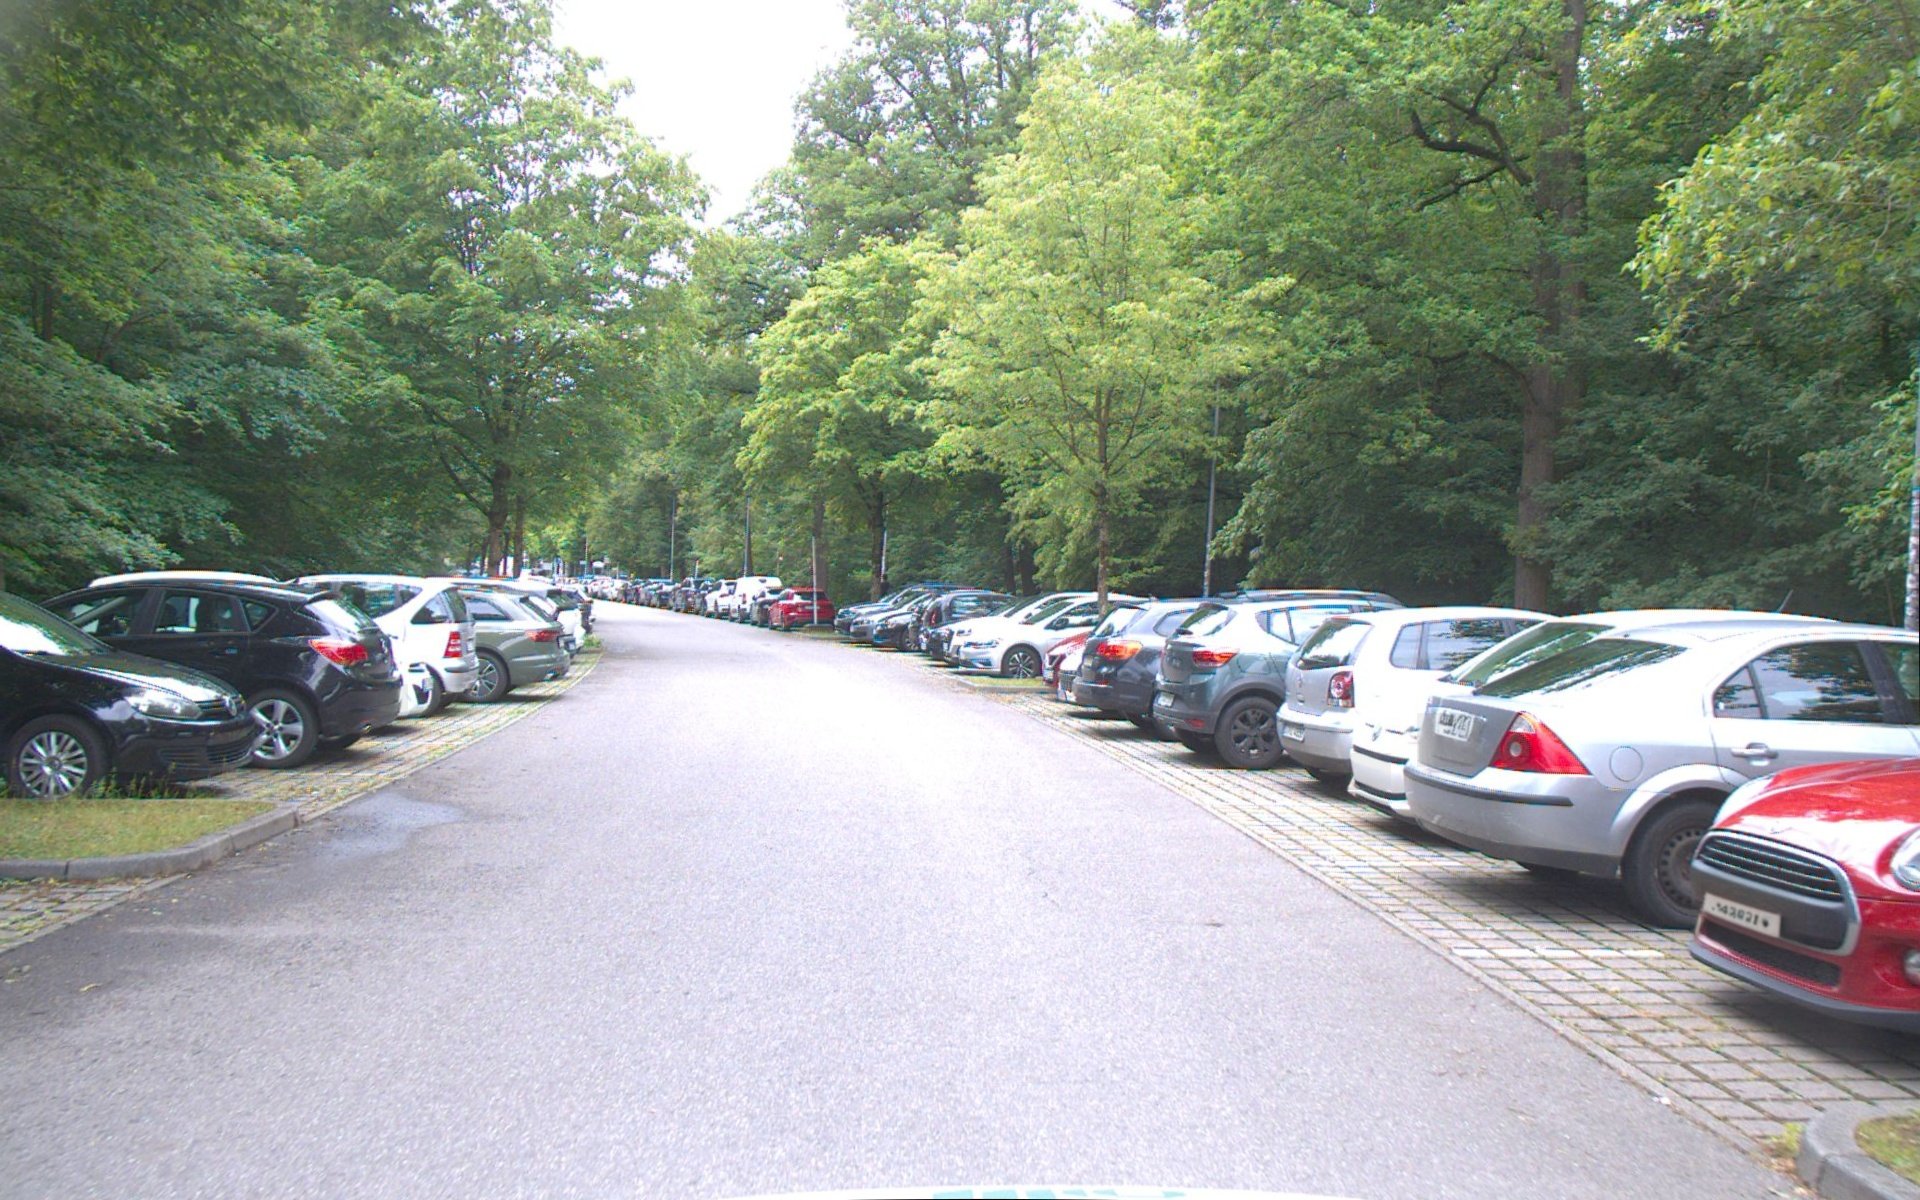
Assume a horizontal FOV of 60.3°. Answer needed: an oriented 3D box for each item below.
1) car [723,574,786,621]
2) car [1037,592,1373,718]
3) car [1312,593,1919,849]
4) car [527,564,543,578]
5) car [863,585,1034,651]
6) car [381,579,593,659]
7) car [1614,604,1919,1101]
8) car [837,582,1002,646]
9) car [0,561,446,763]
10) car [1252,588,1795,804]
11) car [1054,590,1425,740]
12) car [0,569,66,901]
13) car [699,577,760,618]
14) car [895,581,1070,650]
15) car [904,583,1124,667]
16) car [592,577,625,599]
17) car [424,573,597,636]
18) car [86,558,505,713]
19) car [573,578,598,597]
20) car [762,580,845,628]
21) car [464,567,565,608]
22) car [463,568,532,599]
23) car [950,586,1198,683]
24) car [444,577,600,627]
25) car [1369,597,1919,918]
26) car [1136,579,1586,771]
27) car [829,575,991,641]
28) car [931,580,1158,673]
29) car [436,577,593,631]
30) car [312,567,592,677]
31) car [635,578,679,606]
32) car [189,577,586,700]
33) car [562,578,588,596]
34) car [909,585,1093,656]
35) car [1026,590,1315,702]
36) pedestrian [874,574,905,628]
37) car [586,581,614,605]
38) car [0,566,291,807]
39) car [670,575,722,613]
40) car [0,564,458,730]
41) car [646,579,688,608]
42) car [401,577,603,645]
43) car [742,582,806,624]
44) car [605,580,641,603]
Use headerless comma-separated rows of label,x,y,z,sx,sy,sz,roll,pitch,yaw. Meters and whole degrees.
car,-8.267,-0.130,66.236,1.717,1.811,4.530,1,0,-18
car,3.077,0.679,21.201,3.859,1.435,1.875,1,1,-9
car,4.417,0.767,11.172,3.629,1.537,1.749,1,0,-5
car,-50.601,-3.430,196.917,1.603,1.440,3.394,2,3,-19
car,-0.309,0.429,41.101,3.917,1.501,1.947,1,0,-12
car,-8.900,0.347,31.403,3.659,1.444,1.867,1,0,-10
car,4.773,0.801,6.134,3.909,1.475,1.939,1,0,-5
car,-1.080,0.360,43.625,3.926,1.579,1.965,1,0,-19
car,-6.749,0.481,14.088,4.150,1.557,2.005,1,0,-5
car,4.451,0.739,13.360,3.770,1.573,1.727,1,0,-7
car,3.076,0.702,18.551,3.700,1.506,1.770,1,1,-11
car,-6.315,0.606,7.168,3.910,1.517,1.706,0,1,-6
car,-10.091,-0.135,72.143,1.758,1.691,4.693,1,0,-18
car,0.499,0.351,38.498,3.760,1.558,1.845,0,0,-13
car,1.068,0.500,33.635,4.115,1.538,1.887,1,1,-13
car,-25.747,-0.859,121.123,1.698,1.520,3.748,1,0,-23
car,-11.670,0.112,43.235,4.190,1.512,2.052,1,0,-12
car,-7.552,0.396,19.212,4.156,1.676,1.965,1,0,-10
car,-31.293,-1.043,138.114,1.684,1.535,3.980,1,0,-18
car,-5.310,0.099,55.730,1.961,1.505,4.952,1,0,-15
car,-19.389,-0.533,71.991,4.156,1.661,2.020,2,0,-17
car,-28.820,-1.017,103.054,3.929,1.848,2.102,1,0,-21
car,1.936,0.587,28.651,3.907,1.509,1.878,1,1,-13
car,-13.469,0.059,50.812,4.494,1.472,2.074,1,0,-19
car,4.450,0.764,8.787,4.044,1.487,1.864,1,0,-3
car,3.703,0.668,15.706,3.695,1.617,1.947,2,1,-6
car,-1.405,0.216,46.030,4.193,1.695,1.951,1,0,-14
car,1.549,0.487,31.154,3.934,1.586,1.974,1,1,-9
car,-12.972,0.122,48.153,4.298,1.512,1.882,1,0,-18
car,-8.078,0.337,26.604,3.880,1.656,1.998,1,0,-2
car,-18.155,-0.475,98.879,1.948,1.564,4.598,1,0,-18
car,-7.298,0.476,21.568,4.553,1.504,2.091,1,0,-9
car,-33.735,-1.130,144.871,1.890,1.547,3.869,1,0,-17
car,0.870,0.448,36.295,3.759,1.482,1.804,1,0,-12
car,3.027,0.655,24.019,3.734,1.466,1.862,1,1,-17
pedestrian,-2.372,0.027,55.731,0.804,1.756,1.000,2,0,-16
car,-27.507,-0.529,126.307,1.684,1.758,3.980,1,0,-18
car,-6.944,0.517,11.137,4.151,1.499,1.718,1,0,-5
car,-13.298,-0.330,83.221,1.860,1.777,4.924,1,0,-18
car,-7.367,0.450,16.718,4.154,1.560,1.759,1,0,-9
car,-16.543,-0.380,93.278,1.612,1.503,4.128,1,0,-20
car,-10.533,0.245,38.363,4.327,1.449,2.030,1,0,-12
car,-6.896,0.089,61.114,1.697,1.447,4.267,1,0,-15
car,-23.531,-0.624,115.484,1.908,1.501,3.970,1,0,-19
